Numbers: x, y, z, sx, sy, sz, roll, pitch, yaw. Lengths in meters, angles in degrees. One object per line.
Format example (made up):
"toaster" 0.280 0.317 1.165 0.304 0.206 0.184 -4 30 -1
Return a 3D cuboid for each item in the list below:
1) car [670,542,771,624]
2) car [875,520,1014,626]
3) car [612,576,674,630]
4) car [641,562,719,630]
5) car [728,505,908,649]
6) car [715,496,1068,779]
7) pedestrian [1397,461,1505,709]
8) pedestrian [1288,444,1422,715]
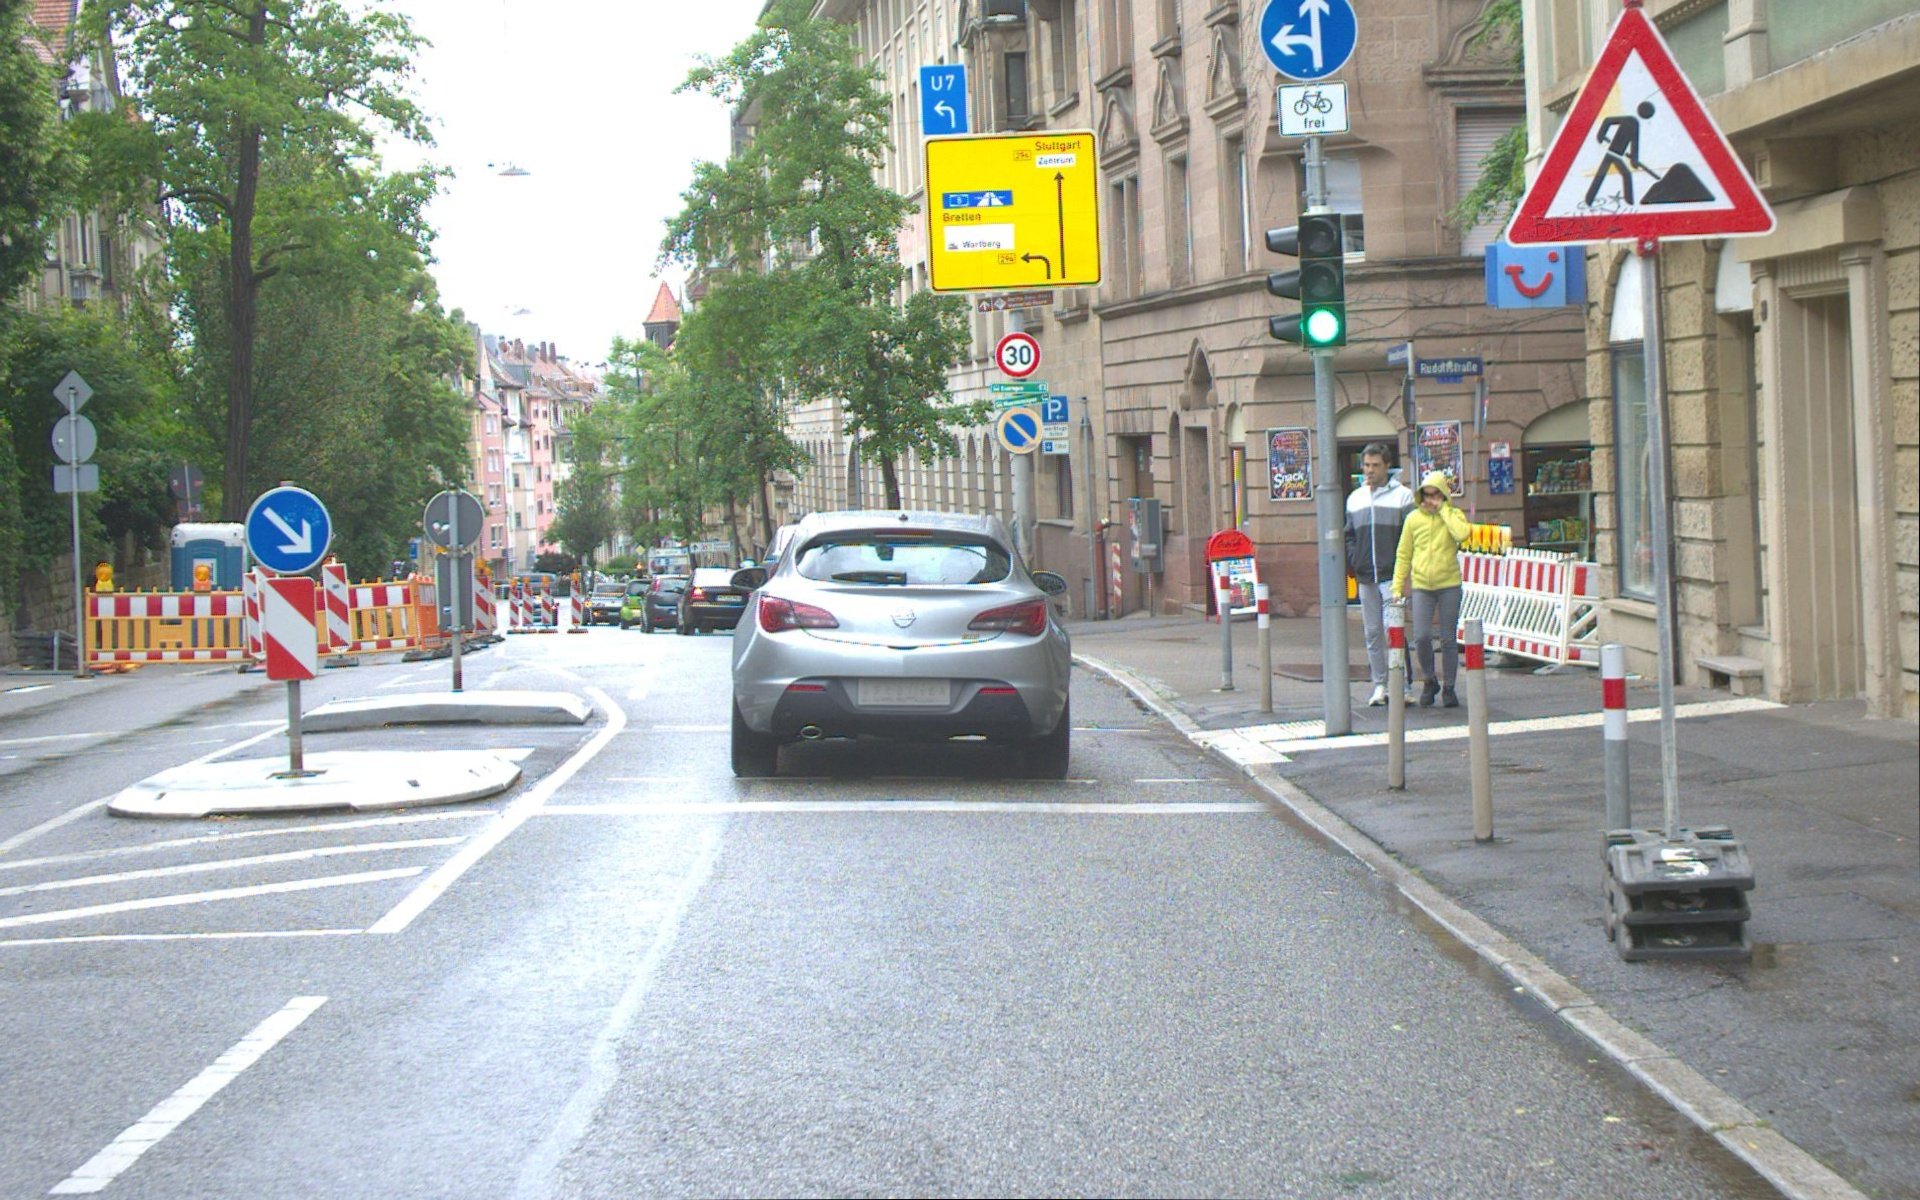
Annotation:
"car" -4.943 -0.330 70.613 1.656 1.537 3.666 -4 0 -9
"car" -0.281 -0.406 54.913 1.656 1.537 3.666 -4 0 -8
"car" -9.771 0.098 105.910 1.656 1.537 3.666 -4 0 -8
"car" -6.994 -0.088 85.757 1.656 1.537 3.666 -4 0 -8
"car" -1.625 -0.249 38.104 1.772 1.499 3.870 -1 0 -5
"car" -0.344 0.184 19.699 1.811 1.444 3.869 -1 0 0
"pedestrian" 3.233 -0.111 22.663 0.597 1.579 0.665 -4 2 7
"pedestrian" 2.675 -0.148 23.223 0.718 1.768 0.665 -3 2 14
